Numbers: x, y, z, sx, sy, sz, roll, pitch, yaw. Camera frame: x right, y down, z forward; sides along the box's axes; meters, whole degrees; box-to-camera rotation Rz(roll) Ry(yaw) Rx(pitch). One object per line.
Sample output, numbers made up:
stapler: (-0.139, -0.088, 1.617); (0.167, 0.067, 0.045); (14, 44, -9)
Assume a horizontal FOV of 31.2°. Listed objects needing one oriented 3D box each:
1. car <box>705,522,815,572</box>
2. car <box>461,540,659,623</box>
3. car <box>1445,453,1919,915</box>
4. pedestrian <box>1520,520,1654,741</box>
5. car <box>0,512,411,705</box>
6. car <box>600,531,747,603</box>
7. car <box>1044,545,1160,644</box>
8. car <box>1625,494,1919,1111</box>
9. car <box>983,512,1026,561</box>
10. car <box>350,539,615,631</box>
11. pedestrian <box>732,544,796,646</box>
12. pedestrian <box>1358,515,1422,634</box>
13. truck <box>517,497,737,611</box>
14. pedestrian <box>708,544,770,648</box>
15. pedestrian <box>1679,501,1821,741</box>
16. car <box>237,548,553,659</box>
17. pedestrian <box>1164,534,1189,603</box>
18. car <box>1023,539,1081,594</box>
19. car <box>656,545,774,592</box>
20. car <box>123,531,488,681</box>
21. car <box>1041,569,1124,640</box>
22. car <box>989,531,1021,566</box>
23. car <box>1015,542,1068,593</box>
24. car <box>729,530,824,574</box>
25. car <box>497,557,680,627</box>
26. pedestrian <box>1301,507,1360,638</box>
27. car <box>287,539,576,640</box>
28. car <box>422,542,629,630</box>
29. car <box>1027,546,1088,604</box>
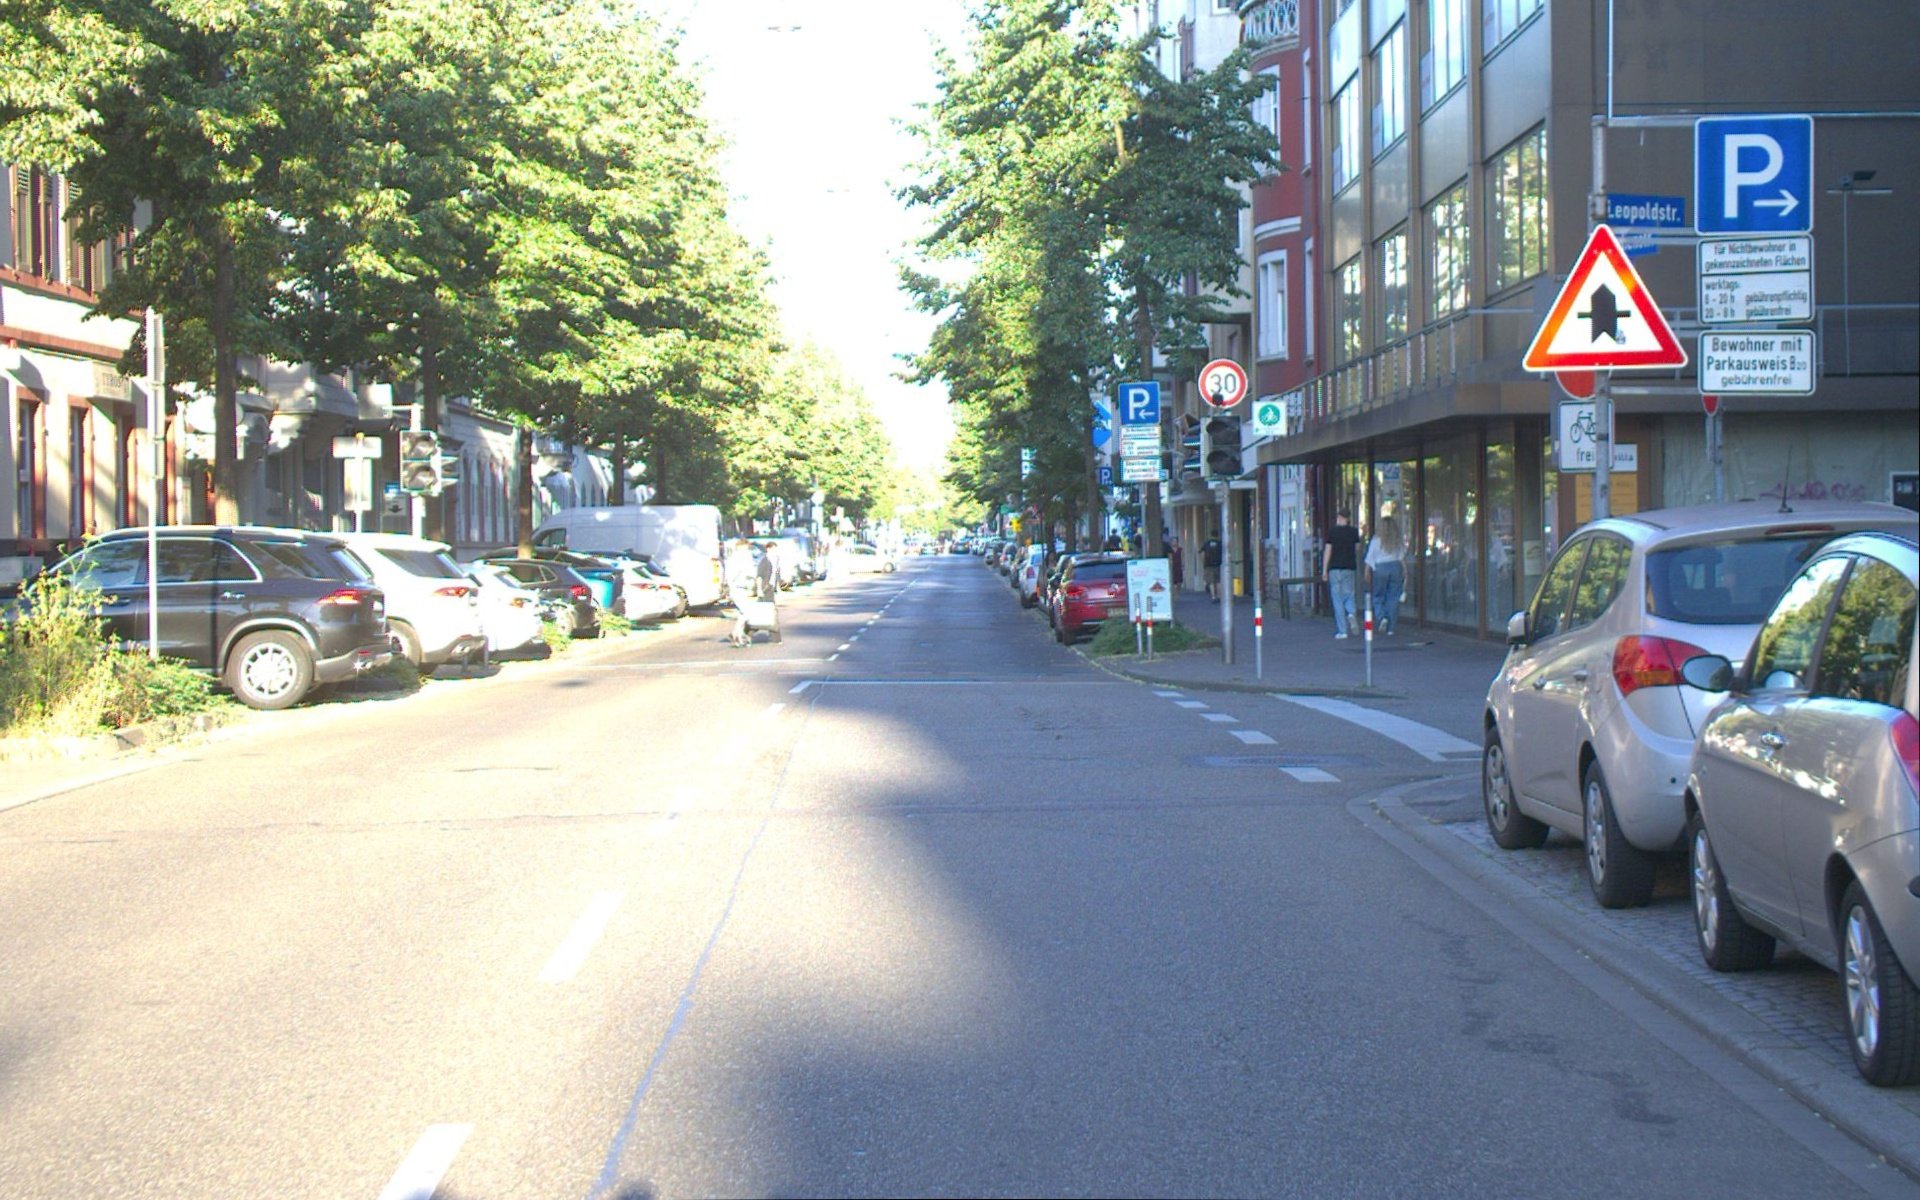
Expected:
car: (-7.016, -1.864, 120.719); (3.739, 1.702, 2.000); (0, 1, 0)
car: (-7.990, -0.366, 68.958); (3.739, 1.590, 2.000); (0, -1, 0)
car: (3.314, 0.269, 15.262); (1.696, 1.763, 4.000); (-1, 1, -1)
pedestrian: (4.771, 0.215, 26.220); (0.755, 1.635, 1.259); (0, 1, -1)
car: (-7.839, 0.091, 34.115); (4.449, 1.829, 2.034); (0, -1, 0)
car: (-7.571, -0.875, 91.041); (3.739, 1.852, 2.000); (0, 1, 0)
car: (2.351, -0.102, 57.488); (1.576, 1.537, 3.397); (-2, 0, -3)
car: (3.262, 0.449, 10.773); (1.680, 1.556, 4.000); (-2, 1, 2)
car: (1.492, -2.128, 115.720); (1.308, 1.594, 2.661); (0, 0, -3)
car: (-8.493, -0.280, 61.389); (4.426, 1.498, 2.000); (2, 1, 0)
pedestrian: (-3.274, -0.087, 57.478); (0.721, 1.677, 0.757); (0, 1, -40)
pedestrian: (6.229, -0.374, 49.838); (0.765, 1.683, 0.786); (-1, 1, -2)
truck: (-7.757, -1.080, 80.389); (4.941, 2.606, 2.000); (0, 1, 0)
pedestrian: (-3.622, -0.071, 56.279); (0.714, 1.667, 0.710); (-1, 2, -40)
pedestrian: (5.950, 0.140, 25.958); (0.755, 1.761, 1.222); (0, 1, -1)
car: (-8.010, 0.032, 49.013); (4.175, 1.502, 2.000); (1, 1, 0)
pedestrian: (5.115, -0.752, 81.315); (0.534, 1.616, 0.534); (0, 1, 0)
car: (2.191, -0.795, 82.251); (1.206, 1.296, 2.661); (0, 0, -3)
car: (-8.050, -1.036, 113.252); (3.739, 1.487, 2.000); (0, 1, 0)
car: (-7.732, 0.056, 40.871); (3.989, 1.702, 1.833); (0, 1, 0)
car: (2.280, 0.068, 64.415); (1.304, 1.288, 3.014); (-1, 0, -3)
car: (2.104, -2.423, 161.515); (1.308, 1.594, 2.661); (0, 0, -3)
car: (2.109, -0.852, 89.623); (1.206, 1.296, 2.661); (0, 0, -3)
car: (-7.387, -1.942, 138.490); (3.739, 1.702, 2.000); (0, 1, 0)
car: (-7.970, -0.179, 74.012); (3.739, 1.445, 2.000); (0, 1, 0)
pedestrian: (5.362, -0.407, 49.766); (0.714, 1.859, 0.680); (-2, 1, -3)
car: (-8.636, -0.184, 56.448); (4.426, 1.594, 2.000); (0, 1, 0)
car: (-8.337, -0.286, 66.213); (3.739, 1.636, 2.000); (0, 1, 0)
car: (2.232, -0.574, 79.119); (1.206, 1.296, 2.661); (0, 0, -3)
